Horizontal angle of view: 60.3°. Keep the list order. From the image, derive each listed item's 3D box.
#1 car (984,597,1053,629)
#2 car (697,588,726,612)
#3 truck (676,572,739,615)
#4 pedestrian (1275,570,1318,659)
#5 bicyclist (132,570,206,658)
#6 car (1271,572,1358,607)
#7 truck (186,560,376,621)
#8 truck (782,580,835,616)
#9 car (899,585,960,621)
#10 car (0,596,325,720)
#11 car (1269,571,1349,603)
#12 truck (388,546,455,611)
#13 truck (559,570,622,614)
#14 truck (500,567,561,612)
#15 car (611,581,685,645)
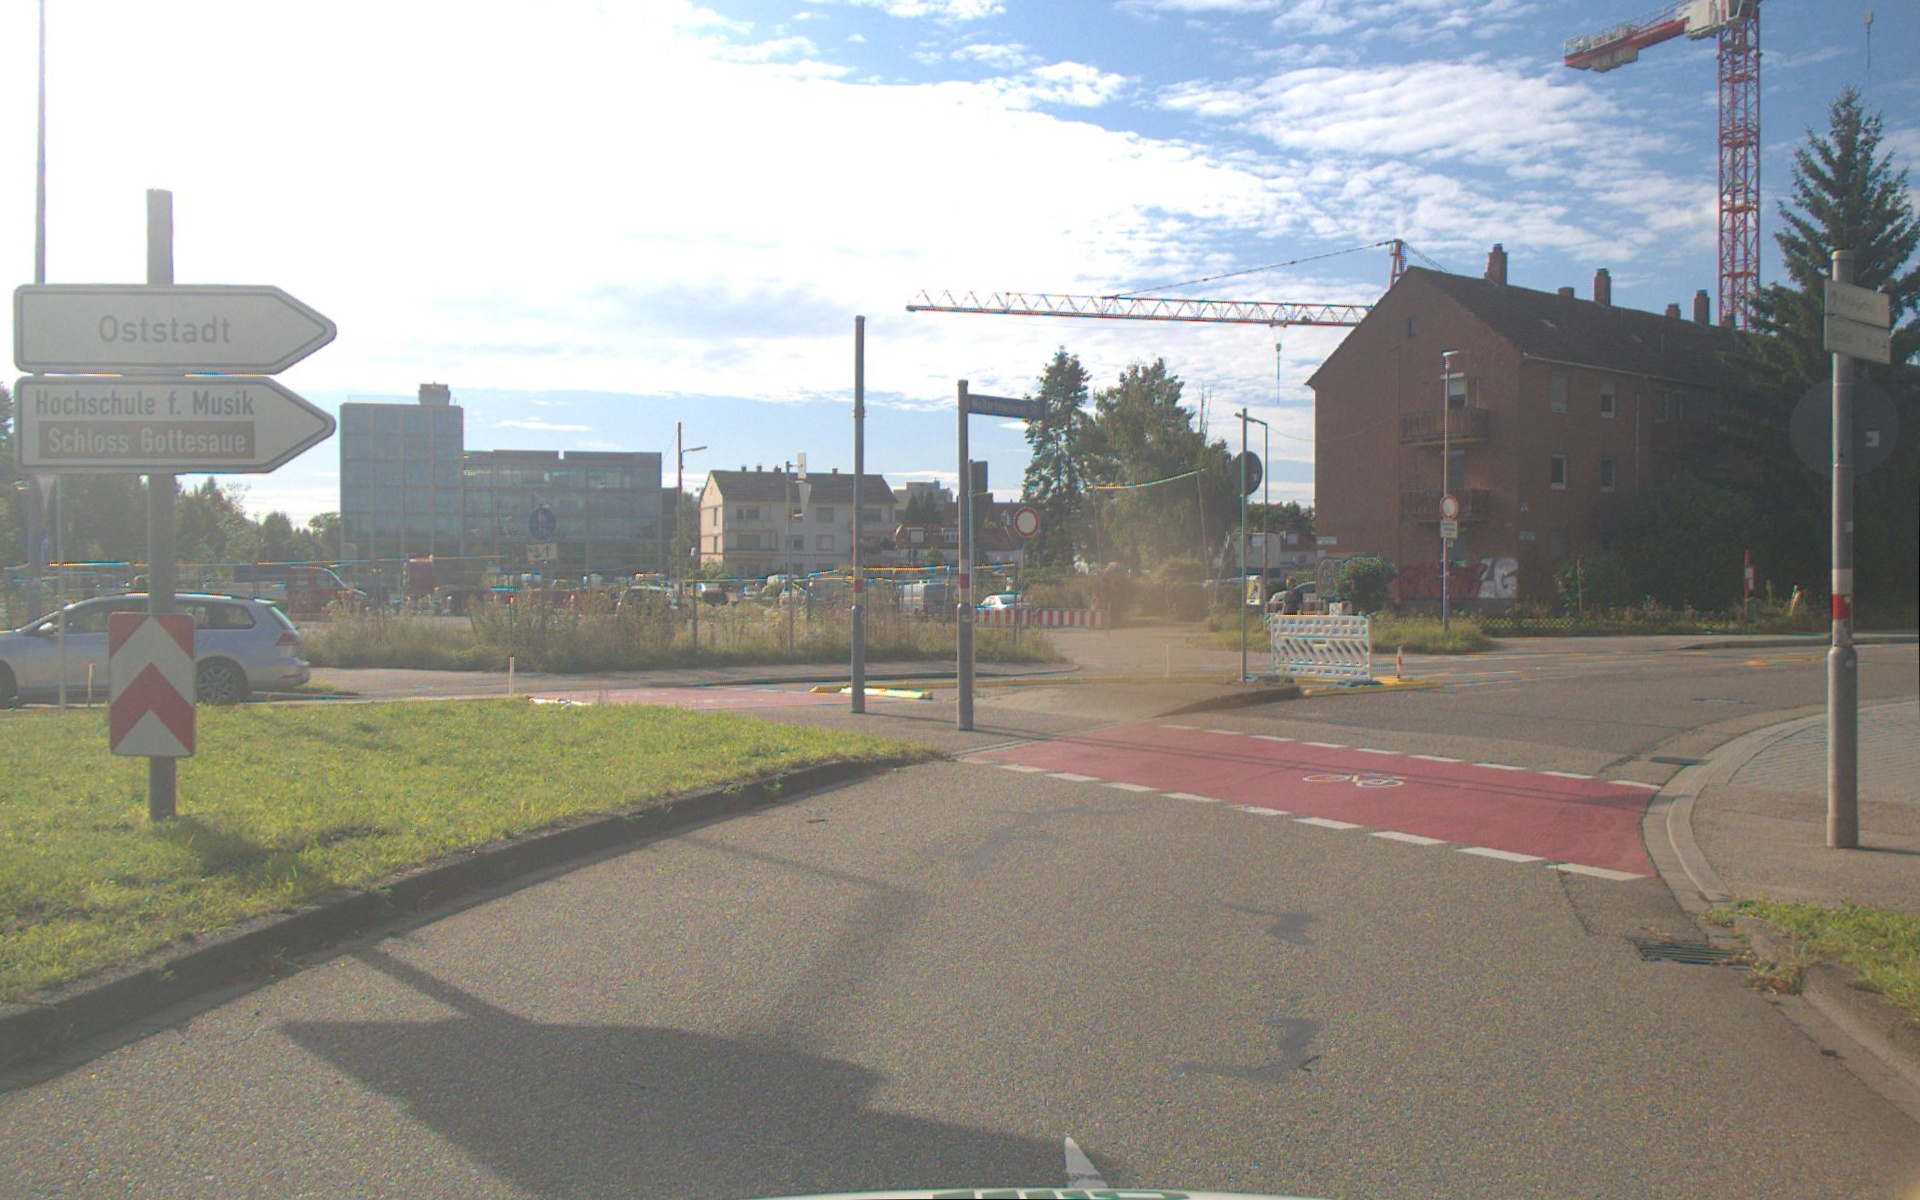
[{"bbox_3d":[2.636,0.577,75.515,1.692,1.417,3.973,0,0,-22],"label":"car"},{"bbox_3d":[-19.926,-0.007,132.739,1.960,1.892,3.986,0,0,-14],"label":"car"},{"bbox_3d":[-14.373,-0.363,93.897,2.255,2.368,5.598,0,1,-23],"label":"truck"},{"bbox_3d":[7.317,0.300,35.969,0.656,1.903,0.832,0,0,35],"label":"pedestrian"},{"bbox_3d":[-14.089,0.242,29.462,0.986,1.538,0.705,0,1,21],"label":"bicyclist"},{"bbox_3d":[16.922,-0.521,78.911,3.903,1.646,1.774,0,0,18],"label":"car"},{"bbox_3d":[-30.217,-0.426,73.991,7.720,2.612,3.056,0,0,-21],"label":"truck"},{"bbox_3d":[-9.701,-0.154,105.267,1.947,2.209,5.370,0,0,-22],"label":"truck"},{"bbox_3d":[-1.612,0.135,85.859,1.853,1.847,3.973,0,0,-22],"label":"car"},{"bbox_3d":[-10.661,0.701,21.447,4.459,1.477,1.813,0,1,-20],"label":"car"},{"bbox_3d":[17.848,-0.662,84.662,3.902,1.646,1.775,0,0,8],"label":"car"},{"bbox_3d":[-28.632,-1.136,87.828,2.770,3.263,7.263,0,1,-23],"label":"truck"},{"bbox_3d":[-20.575,-0.474,91.893,2.296,2.368,6.406,0,1,-23],"label":"truck"},{"bbox_3d":[-23.511,-0.590,90.372,2.296,2.368,6.406,0,1,-23],"label":"truck"},{"bbox_3d":[-9.327,0.345,49.689,1.843,1.847,3.995,0,0,-6],"label":"car"}]
